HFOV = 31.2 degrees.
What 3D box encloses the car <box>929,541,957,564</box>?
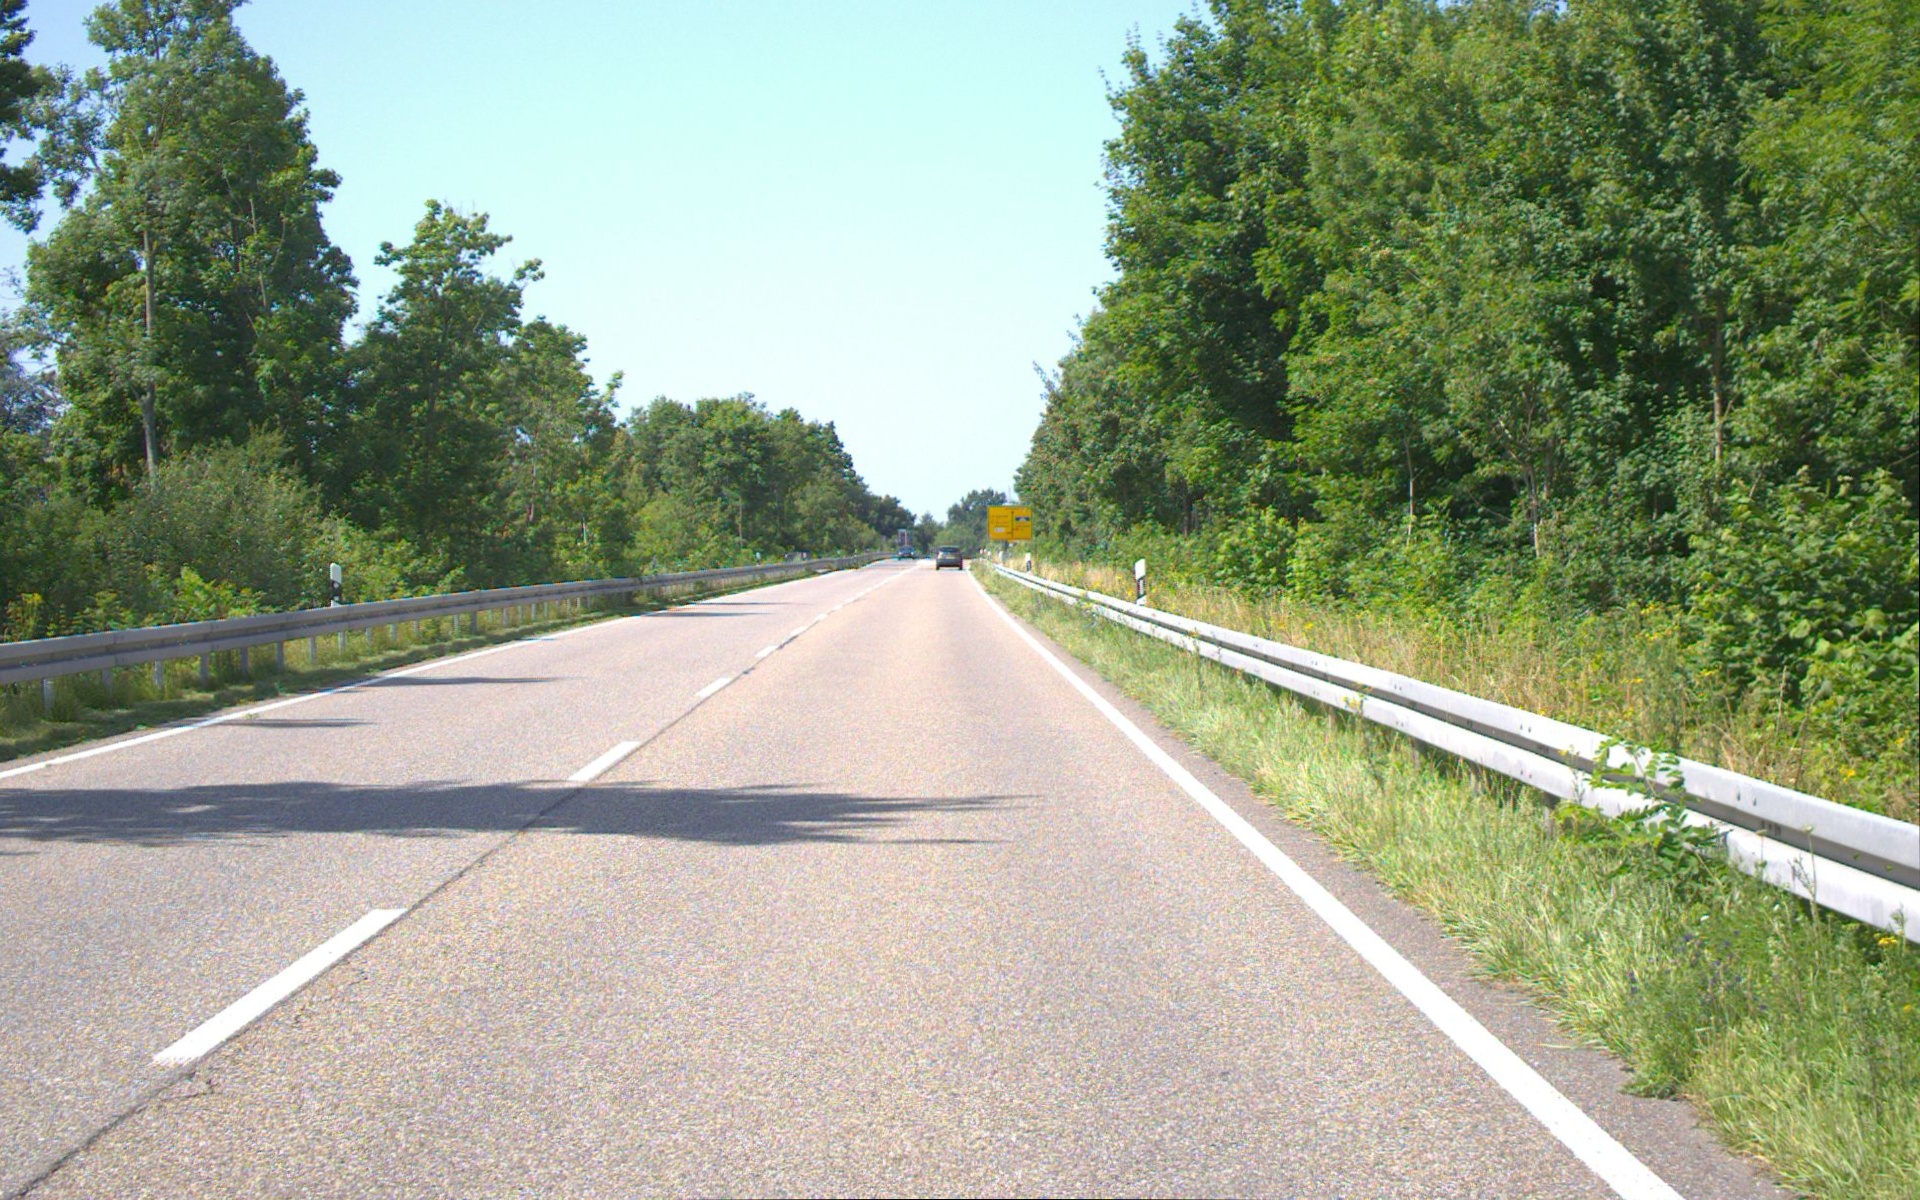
[{"bbox_3d":[-1.103,-3.137,226.616,1.741,1.465,3.692,0,1,1],"label":"car"}]
